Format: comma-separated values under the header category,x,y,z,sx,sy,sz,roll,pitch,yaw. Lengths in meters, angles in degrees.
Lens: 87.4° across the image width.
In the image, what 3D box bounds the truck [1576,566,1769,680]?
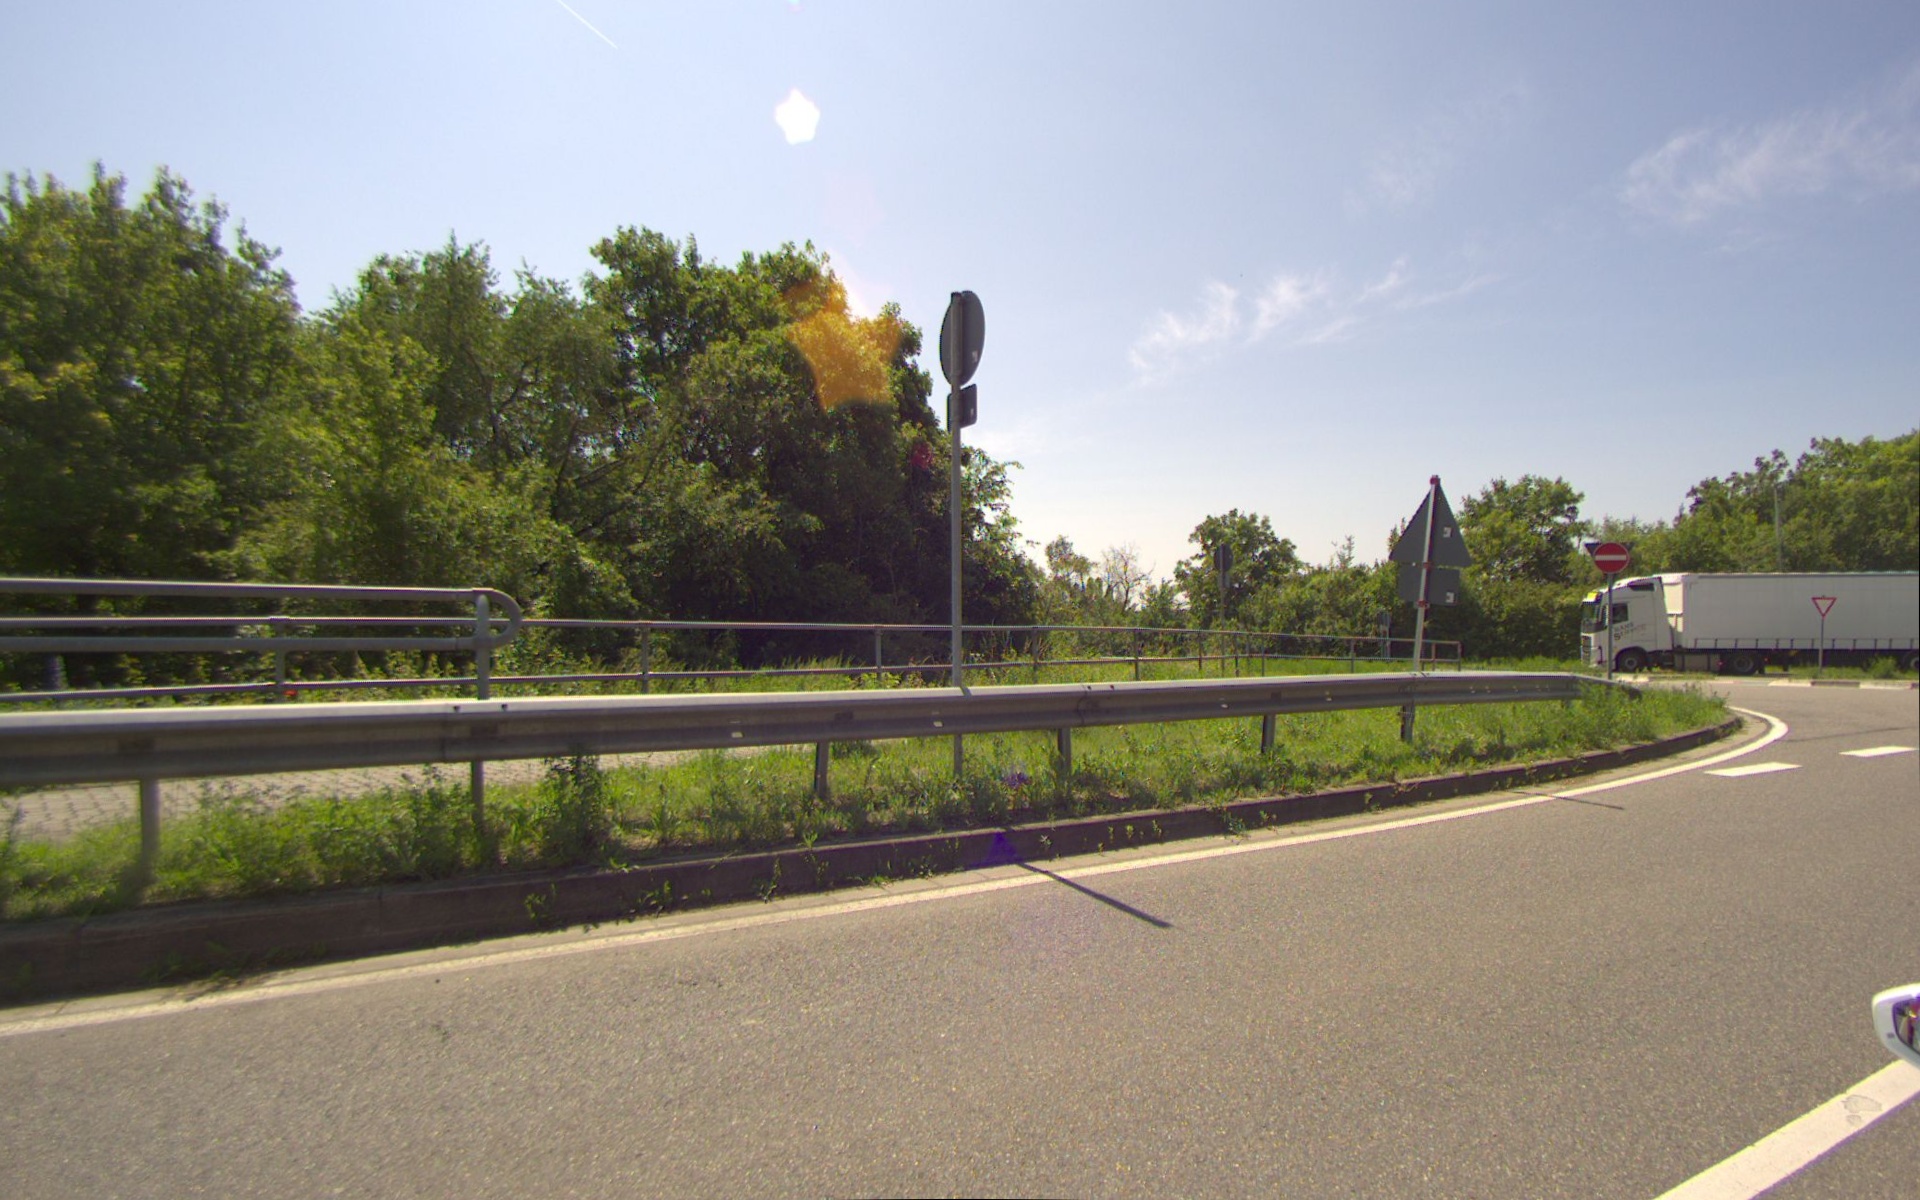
category,x,y,z,sx,sy,sz,roll,pitch,yaw
truck,28.578,0.867,40.623,5.814,4.333,2.997,0,0,23

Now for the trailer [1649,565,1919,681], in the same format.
category,x,y,z,sx,sy,sz,roll,pitch,yaw
trailer,35.077,0.876,39.145,13.510,4.333,3.000,0,0,10
